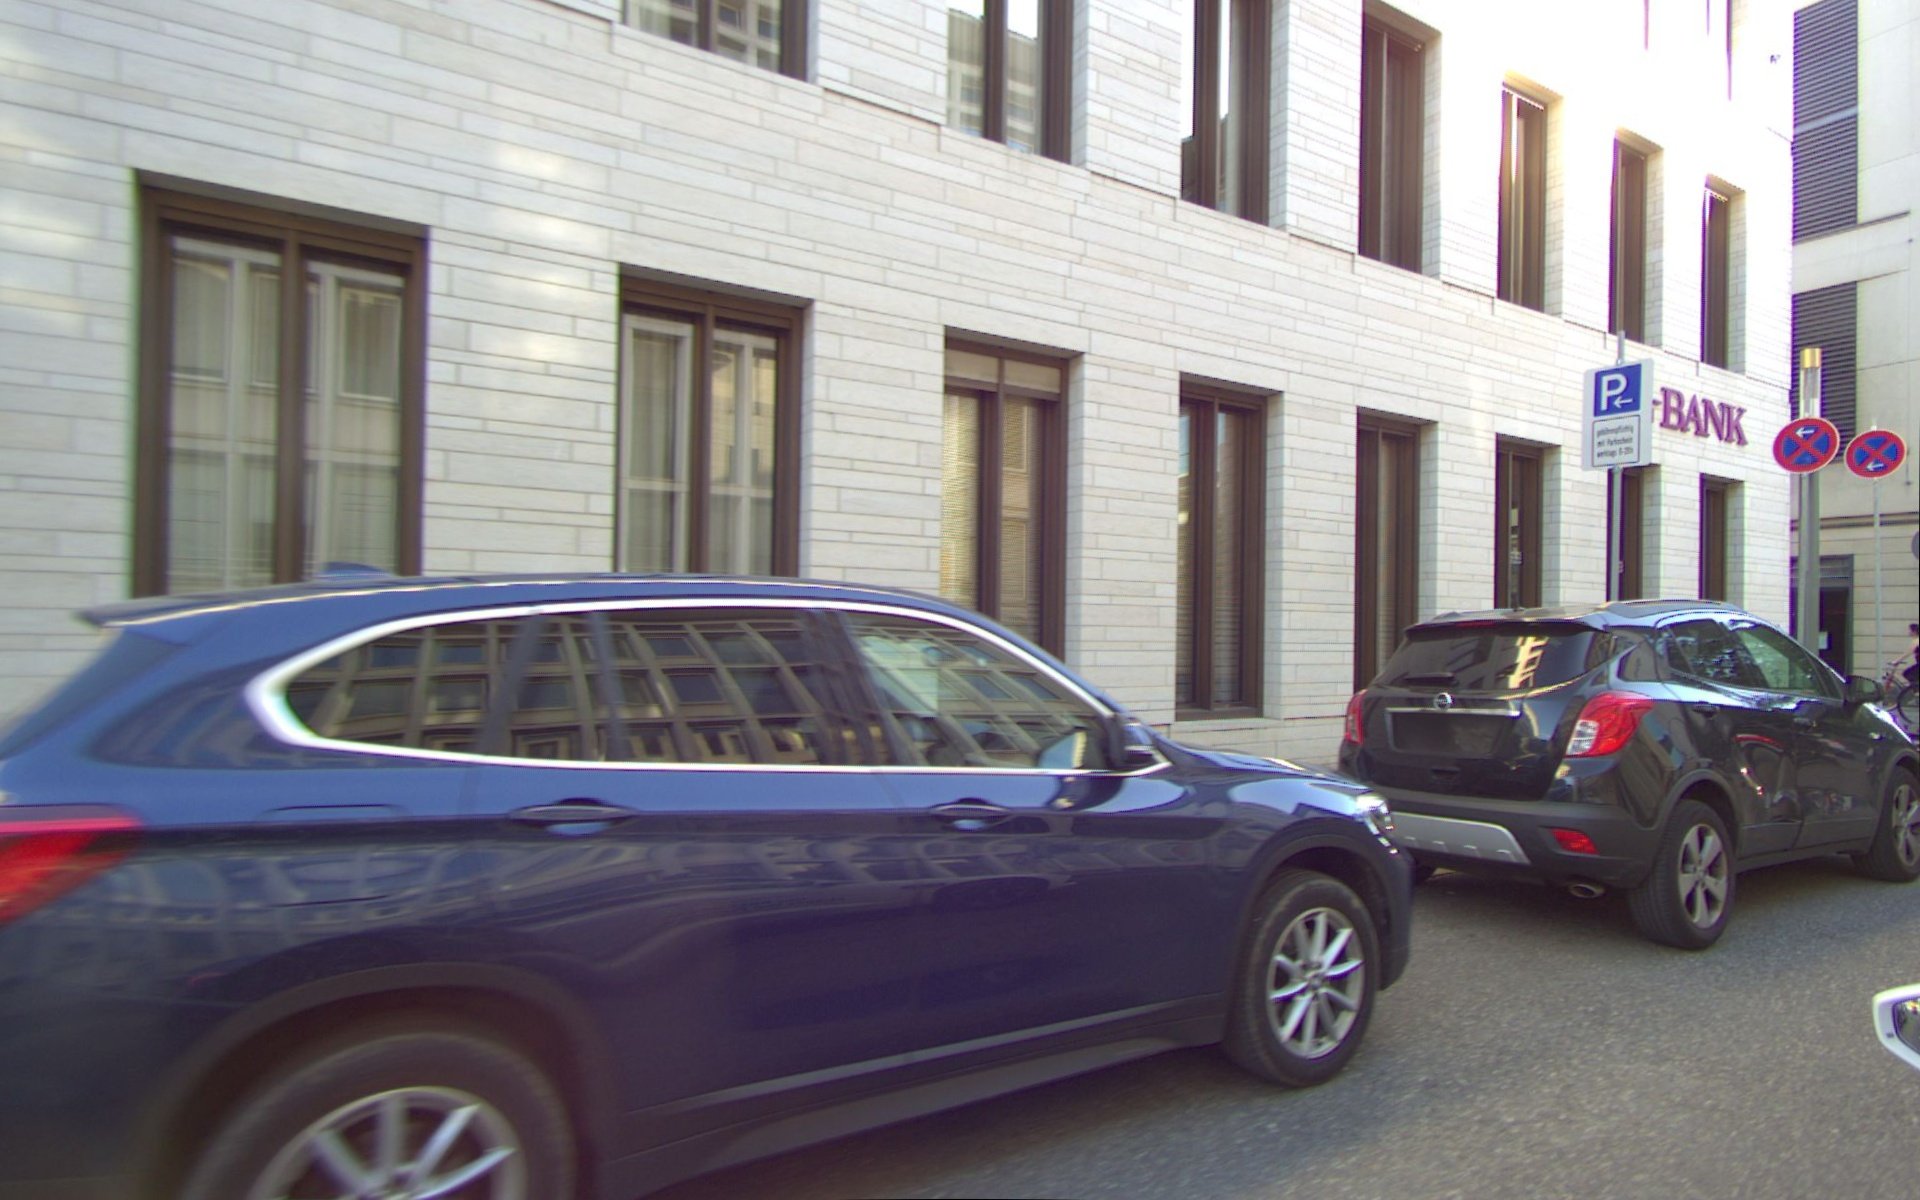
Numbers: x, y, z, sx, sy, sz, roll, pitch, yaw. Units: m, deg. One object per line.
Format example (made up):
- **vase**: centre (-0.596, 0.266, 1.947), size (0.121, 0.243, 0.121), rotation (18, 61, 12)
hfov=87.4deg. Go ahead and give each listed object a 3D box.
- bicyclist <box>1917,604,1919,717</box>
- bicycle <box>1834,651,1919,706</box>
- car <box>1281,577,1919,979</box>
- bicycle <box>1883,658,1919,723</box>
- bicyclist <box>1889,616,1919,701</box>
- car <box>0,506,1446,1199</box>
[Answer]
- **bicyclist**: centre (15.317, 0.949, 15.619), size (0.497, 1.754, 0.546), rotation (2, -1, -38)
- **bicycle**: centre (18.848, 1.576, 20.053), size (0.511, 1.008, 2.096), rotation (2, -1, -24)
- **car**: centre (4.157, 0.828, 6.116), size (4.212, 1.699, 1.815), rotation (1, -3, -29)
- **bicycle**: centre (15.441, 1.434, 15.433), size (0.507, 0.986, 1.800), rotation (2, -1, -38)
- **bicyclist**: centre (18.925, 1.161, 19.882), size (0.491, 1.647, 0.628), rotation (2, -1, -25)
- **car**: centre (-0.501, 0.732, 3.191), size (4.107, 1.615, 1.731), rotation (1, -3, -32)
